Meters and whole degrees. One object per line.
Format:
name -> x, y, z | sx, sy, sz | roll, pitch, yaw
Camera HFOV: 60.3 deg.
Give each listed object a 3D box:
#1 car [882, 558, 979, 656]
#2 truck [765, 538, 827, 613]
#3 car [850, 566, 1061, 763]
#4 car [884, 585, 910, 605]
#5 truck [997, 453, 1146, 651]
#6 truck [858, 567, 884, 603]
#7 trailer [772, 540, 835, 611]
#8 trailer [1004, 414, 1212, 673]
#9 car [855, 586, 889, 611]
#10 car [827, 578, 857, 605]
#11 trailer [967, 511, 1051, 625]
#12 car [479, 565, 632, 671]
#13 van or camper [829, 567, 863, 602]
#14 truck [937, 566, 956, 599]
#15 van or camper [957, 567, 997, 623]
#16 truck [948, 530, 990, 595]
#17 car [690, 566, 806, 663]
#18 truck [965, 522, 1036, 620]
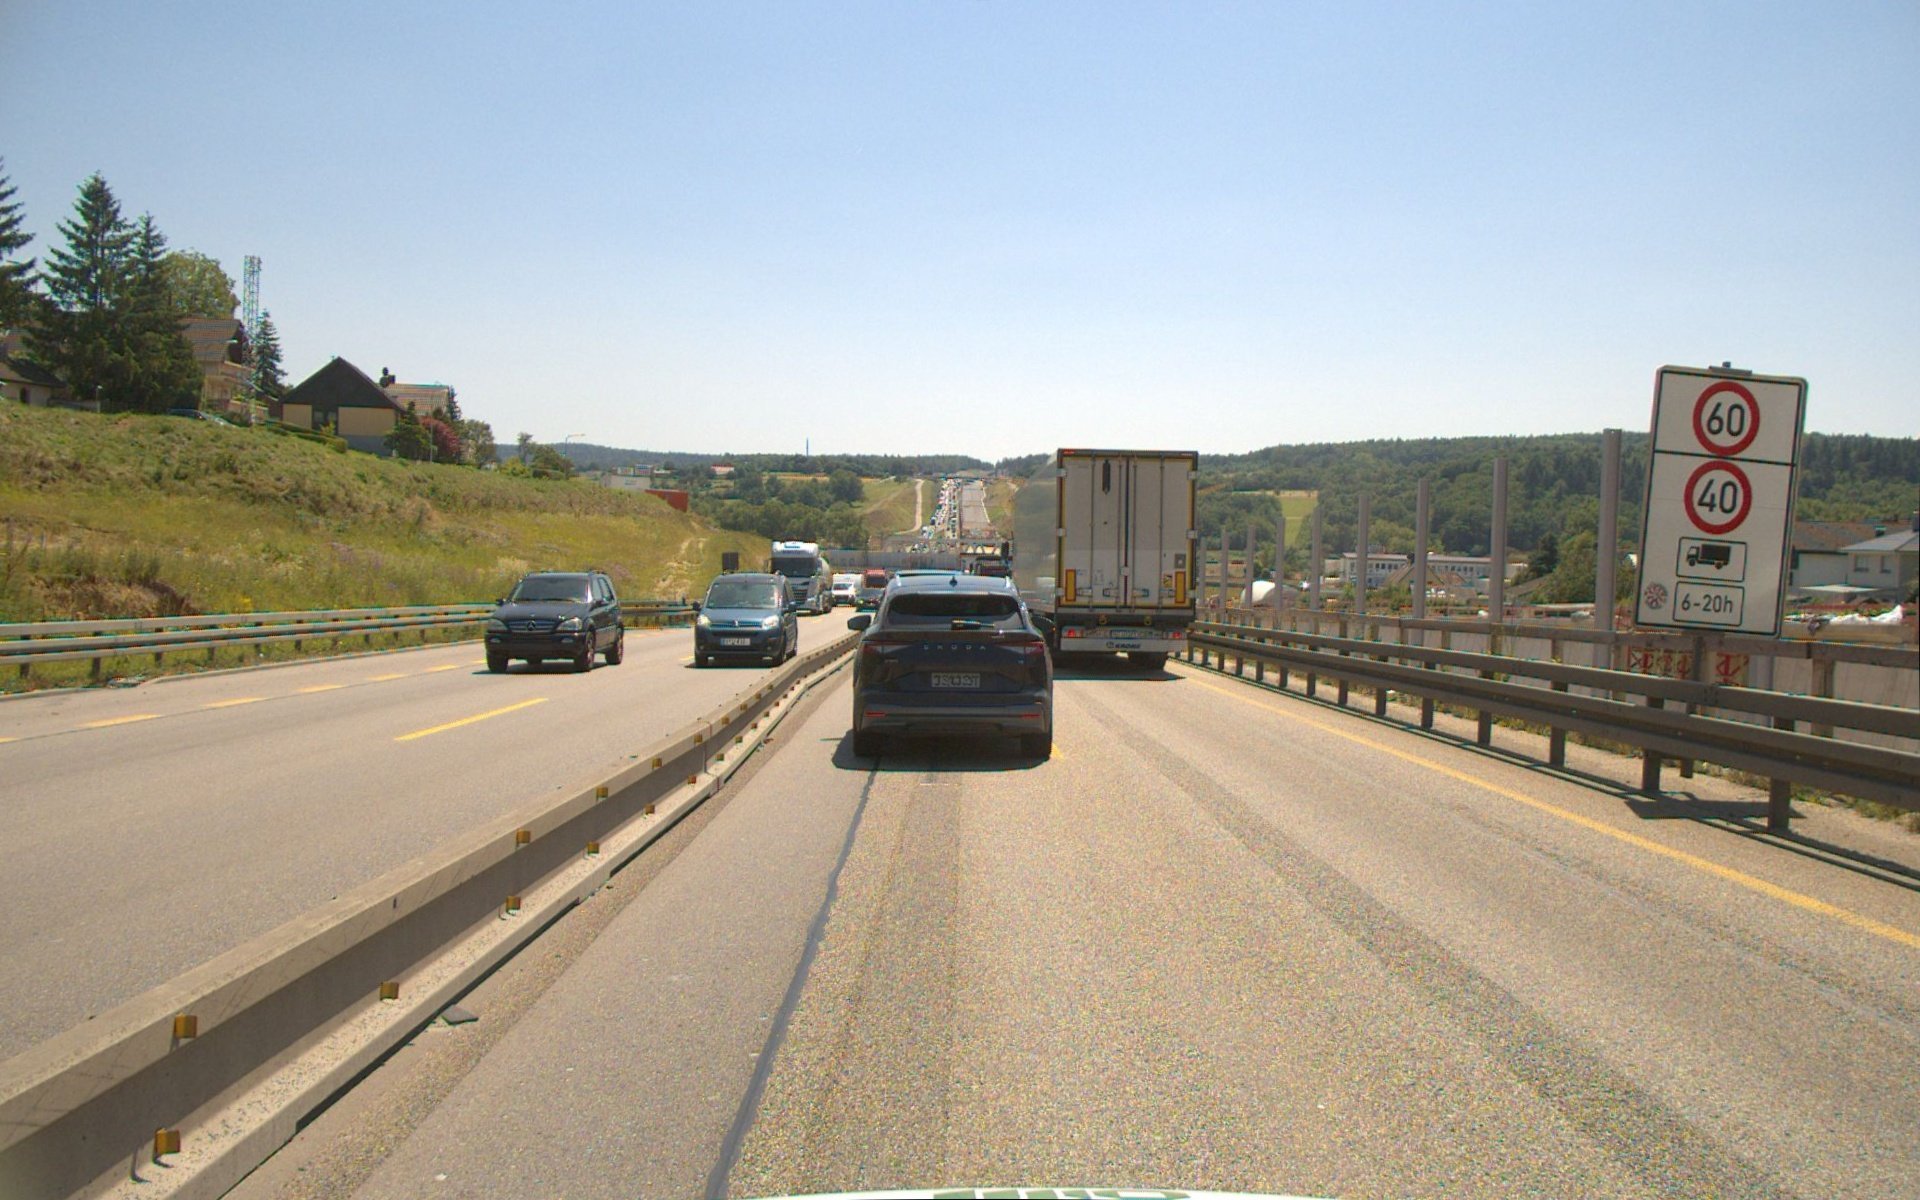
car -> -0.642, 0.173, 35.848 | 1.953, 1.959, 4.506 | 1, -1, -1
truck -> -8.493, -1.250, 86.166 | 2.723, 3.736, 6.275 | 1, 0, -2
car -> -0.046, 0.549, 15.918 | 1.765, 1.635, 3.999 | 1, 0, 0
car -> -4.878, -0.404, 127.849 | 1.873, 1.506, 4.636 | 0, 0, -1
truck -> 2.695, -1.172, 42.613 | 3.116, 4.591, 8.164 | 1, 1, -1
truck -> -10.973, -1.808, 204.750 | 2.794, 4.212, 11.913 | 1, -1, -1
trailer -> -8.616, -1.330, 92.267 | 2.661, 3.657, 11.791 | 1, 0, -1
trailer -> 2.819, -1.091, 36.119 | 3.116, 4.591, 13.106 | 1, 1, -1
car -> -5.265, -0.089, 99.383 | 1.856, 1.439, 4.679 | 0, 1, 0
car -> -8.940, -0.636, 125.421 | 1.953, 2.005, 5.342 | 0, 0, -1
trailer -> 2.032, -1.210, 75.022 | 3.116, 4.592, 14.962 | 1, -1, -1
car -> -7.369, 0.290, 30.562 | 1.791, 1.797, 4.496 | 0, 0, -1
van or camper -> -9.033, -1.230, 132.019 | 2.309, 2.723, 7.856 | 0, 0, -1
truck -> -1.889, -2.421, 231.464 | 2.586, 4.267, 9.281 | 1, -1, -1
van or camper -> 1.076, -0.229, 102.296 | 2.339, 3.338, 6.469 | 0, -1, 1
truck -> 0.627, -2.793, 127.893 | 2.794, 4.543, 11.913 | 1, -1, -1
car -> -4.171, 0.253, 33.197 | 1.808, 1.809, 4.881 | 0, 0, -1
truck -> 1.917, -1.321, 82.092 | 3.116, 4.592, 8.163 | 1, -1, -1
